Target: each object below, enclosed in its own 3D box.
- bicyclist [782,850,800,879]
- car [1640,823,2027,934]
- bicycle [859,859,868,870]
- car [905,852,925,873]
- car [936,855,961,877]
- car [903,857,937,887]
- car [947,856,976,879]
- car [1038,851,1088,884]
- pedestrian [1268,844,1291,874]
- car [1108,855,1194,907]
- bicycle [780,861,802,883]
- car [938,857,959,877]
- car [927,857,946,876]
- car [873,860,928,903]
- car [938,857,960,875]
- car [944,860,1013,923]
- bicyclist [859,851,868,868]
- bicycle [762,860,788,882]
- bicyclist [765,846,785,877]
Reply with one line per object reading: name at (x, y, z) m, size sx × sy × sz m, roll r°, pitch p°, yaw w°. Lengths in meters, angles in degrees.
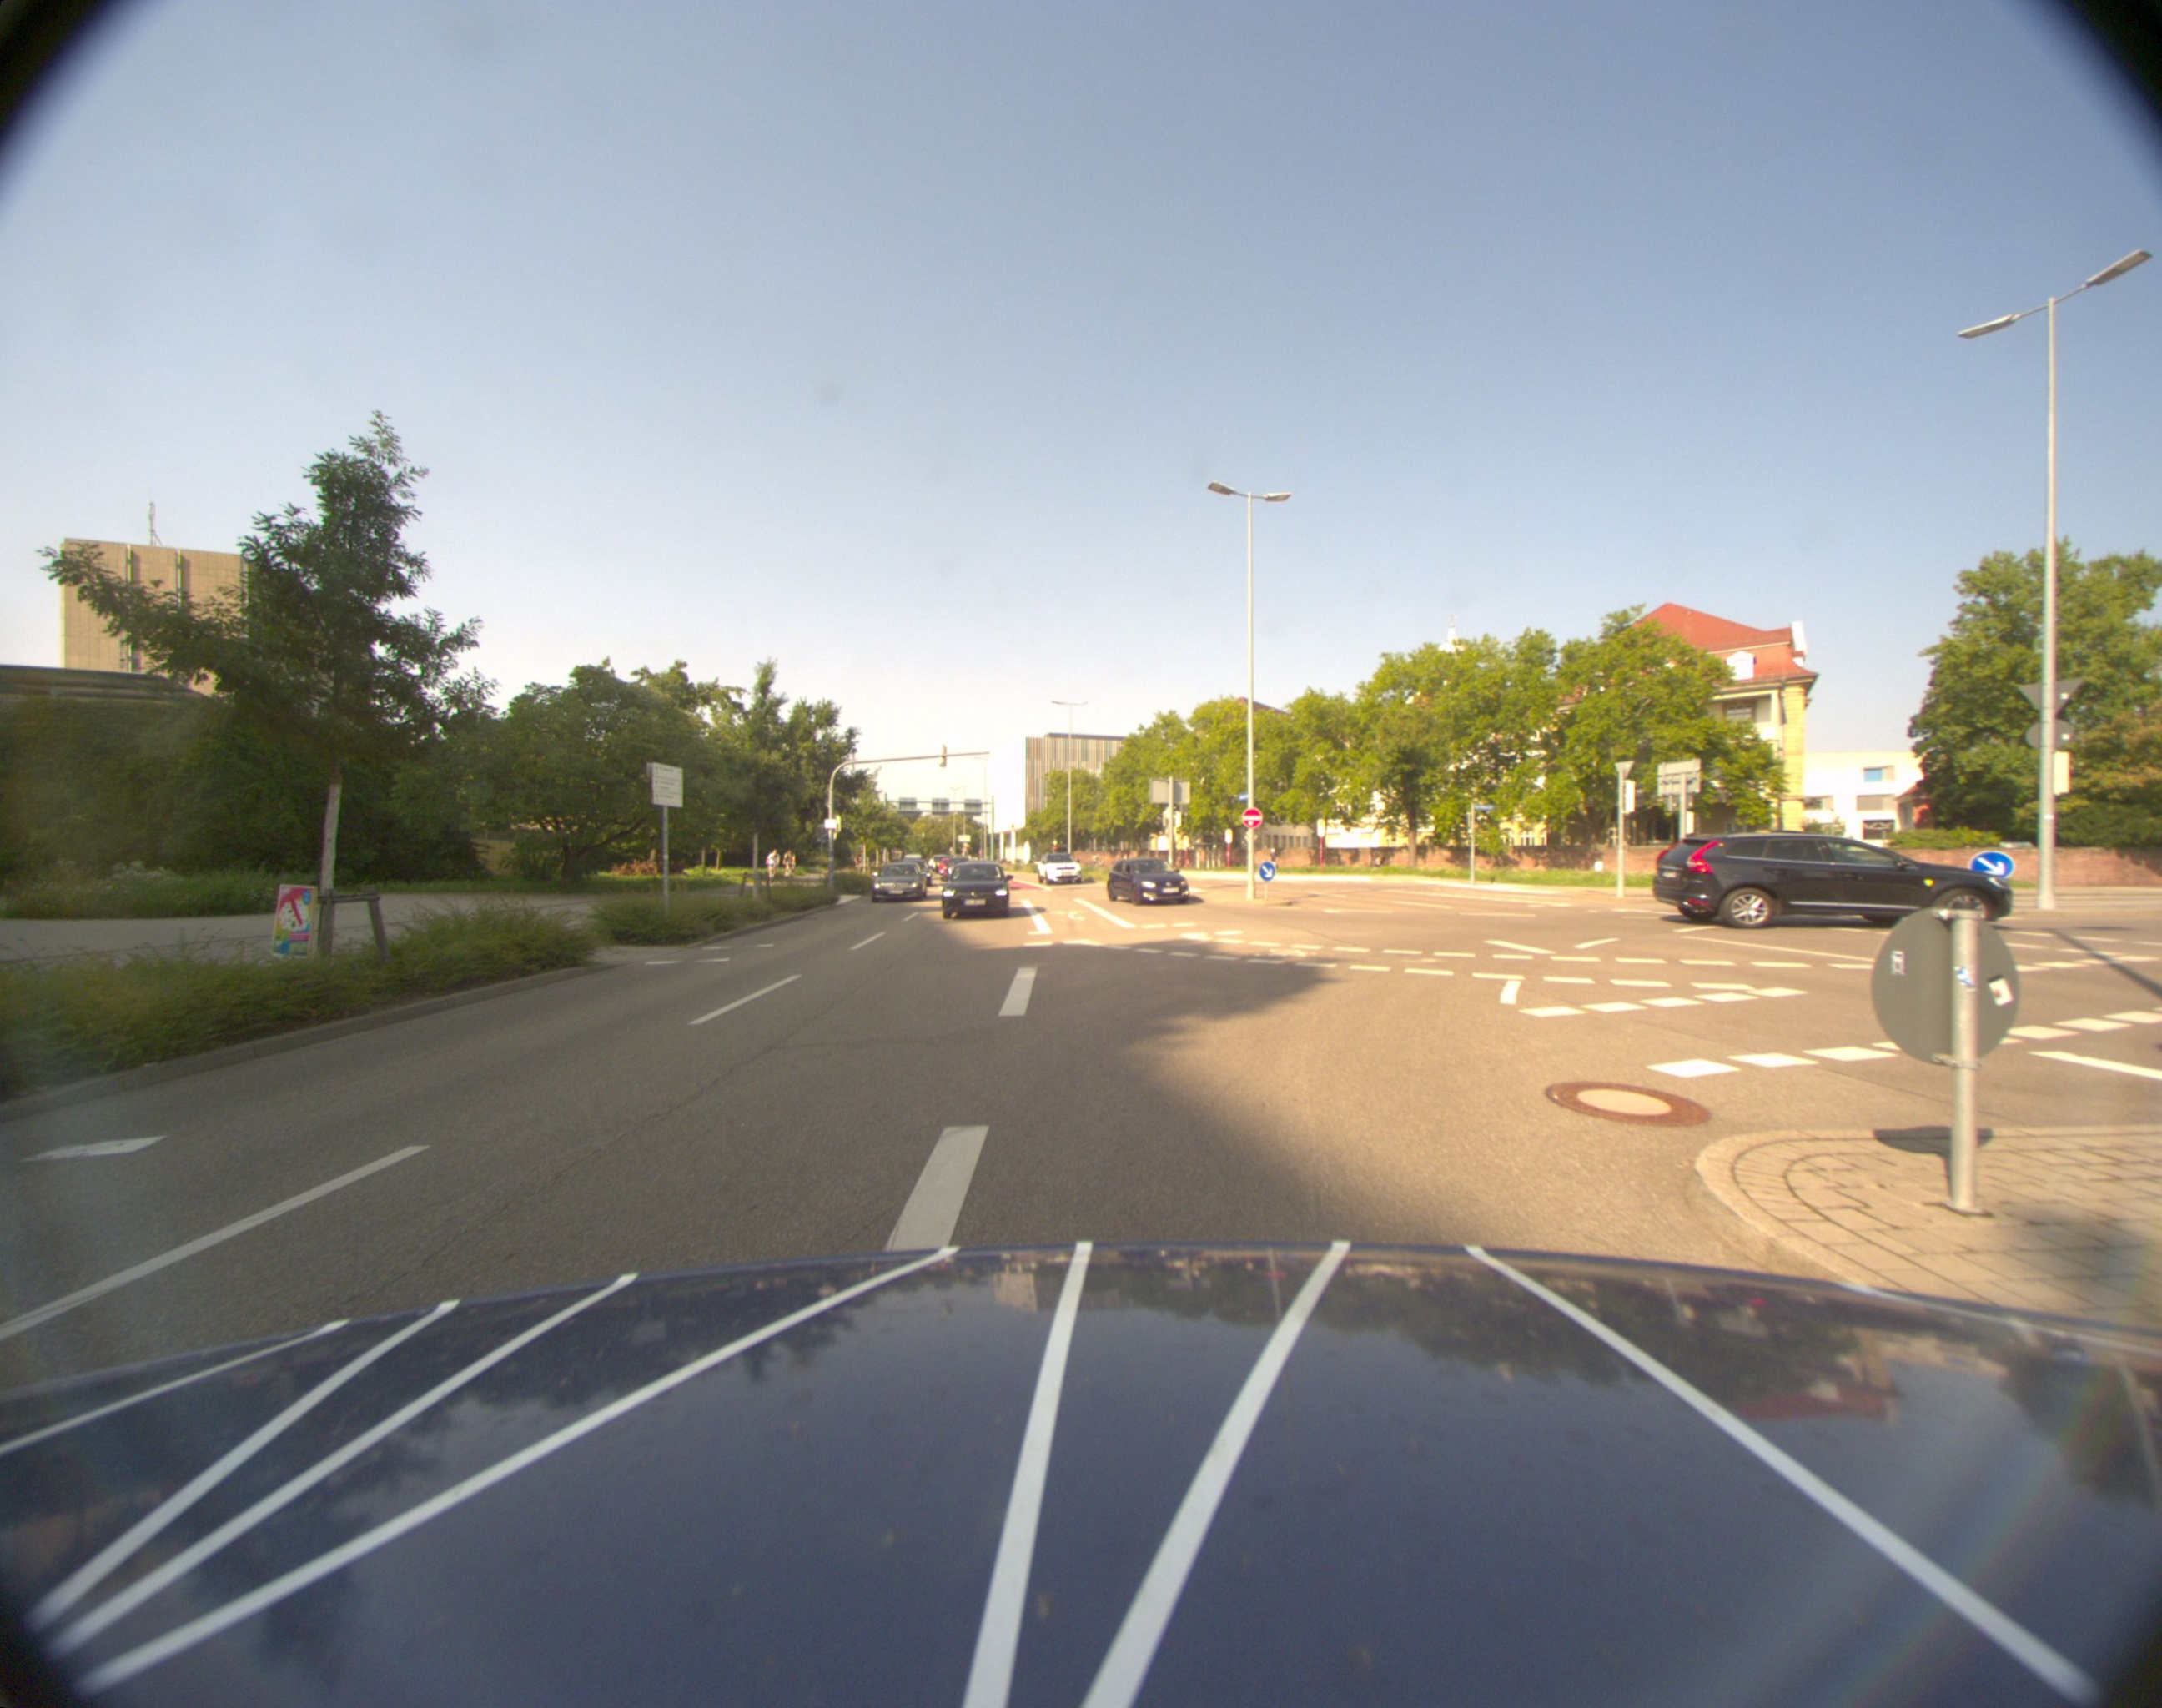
bicyclist at (-15.891, 0.560, 41.650) m, size 0.774 × 1.584 × 0.923 m, roll -1°, pitch 1°, yaw -13°
car at (12.804, 0.416, 13.342) m, size 4.363 × 1.624 × 2.002 m, roll -3°, pitch 2°, yaw 19°
bicycle at (-22.458, 1.103, 78.460) m, size 0.774 × 1.111 × 2.301 m, roll -1°, pitch 0°, yaw -13°
car at (-15.825, 0.772, 72.198) m, size 1.689 × 1.930 × 4.366 m, roll 0°, pitch 0°, yaw -14°
car at (-10.463, 0.920, 59.858) m, size 1.784 × 1.597 × 4.415 m, roll 0°, pitch 1°, yaw -12°
car at (-8.862, 0.945, 41.837) m, size 1.689 × 1.483 × 4.668 m, roll 0°, pitch 0°, yaw -12°
car at (-8.120, 0.895, 51.494) m, size 1.689 × 1.483 × 4.367 m, roll 0°, pitch 0°, yaw -12°
car at (-1.038, 0.685, 40.727) m, size 2.000 × 1.624 × 4.368 m, roll -3°, pitch 0°, yaw -9°
pedestrian at (13.613, 0.340, 52.091) m, size 1.079 × 2.002 × 1.317 m, roll -1°, pitch 1°, yaw -9°
car at (2.122, 0.788, 24.094) m, size 1.626 × 1.489 × 3.846 m, roll -1°, pitch 0°, yaw -12°
bicycle at (-15.891, 0.978, 41.683) m, size 0.774 × 1.111 × 2.301 m, roll -1°, pitch 0°, yaw -13°
car at (-12.790, 1.230, 73.231) m, size 1.689 × 1.930 × 4.068 m, roll 0°, pitch 0°, yaw -15°
car at (-15.520, 1.311, 81.627) m, size 1.689 × 1.930 × 4.068 m, roll 0°, pitch 0°, yaw -15°
car at (-6.793, 0.983, 28.972) m, size 1.688 × 1.434 × 4.368 m, roll -1°, pitch 0°, yaw -9°
car at (-11.689, 1.059, 67.112) m, size 1.689 × 1.483 × 4.367 m, roll 0°, pitch 0°, yaw -12°
car at (-2.875, 0.942, 20.940) m, size 1.688 × 1.483 × 4.368 m, roll 0°, pitch 0°, yaw -9°
bicyclist at (-22.500, 0.578, 78.575) m, size 0.774 × 1.666 × 0.923 m, roll -1°, pitch 1°, yaw -12°
bicycle at (-15.714, 0.855, 39.081) m, size 0.774 × 1.111 × 2.301 m, roll 0°, pitch 0°, yaw -11°
bicyclist at (-15.699, 0.392, 39.026) m, size 0.774 × 1.583 × 0.923 m, roll 0°, pitch 0°, yaw -11°
